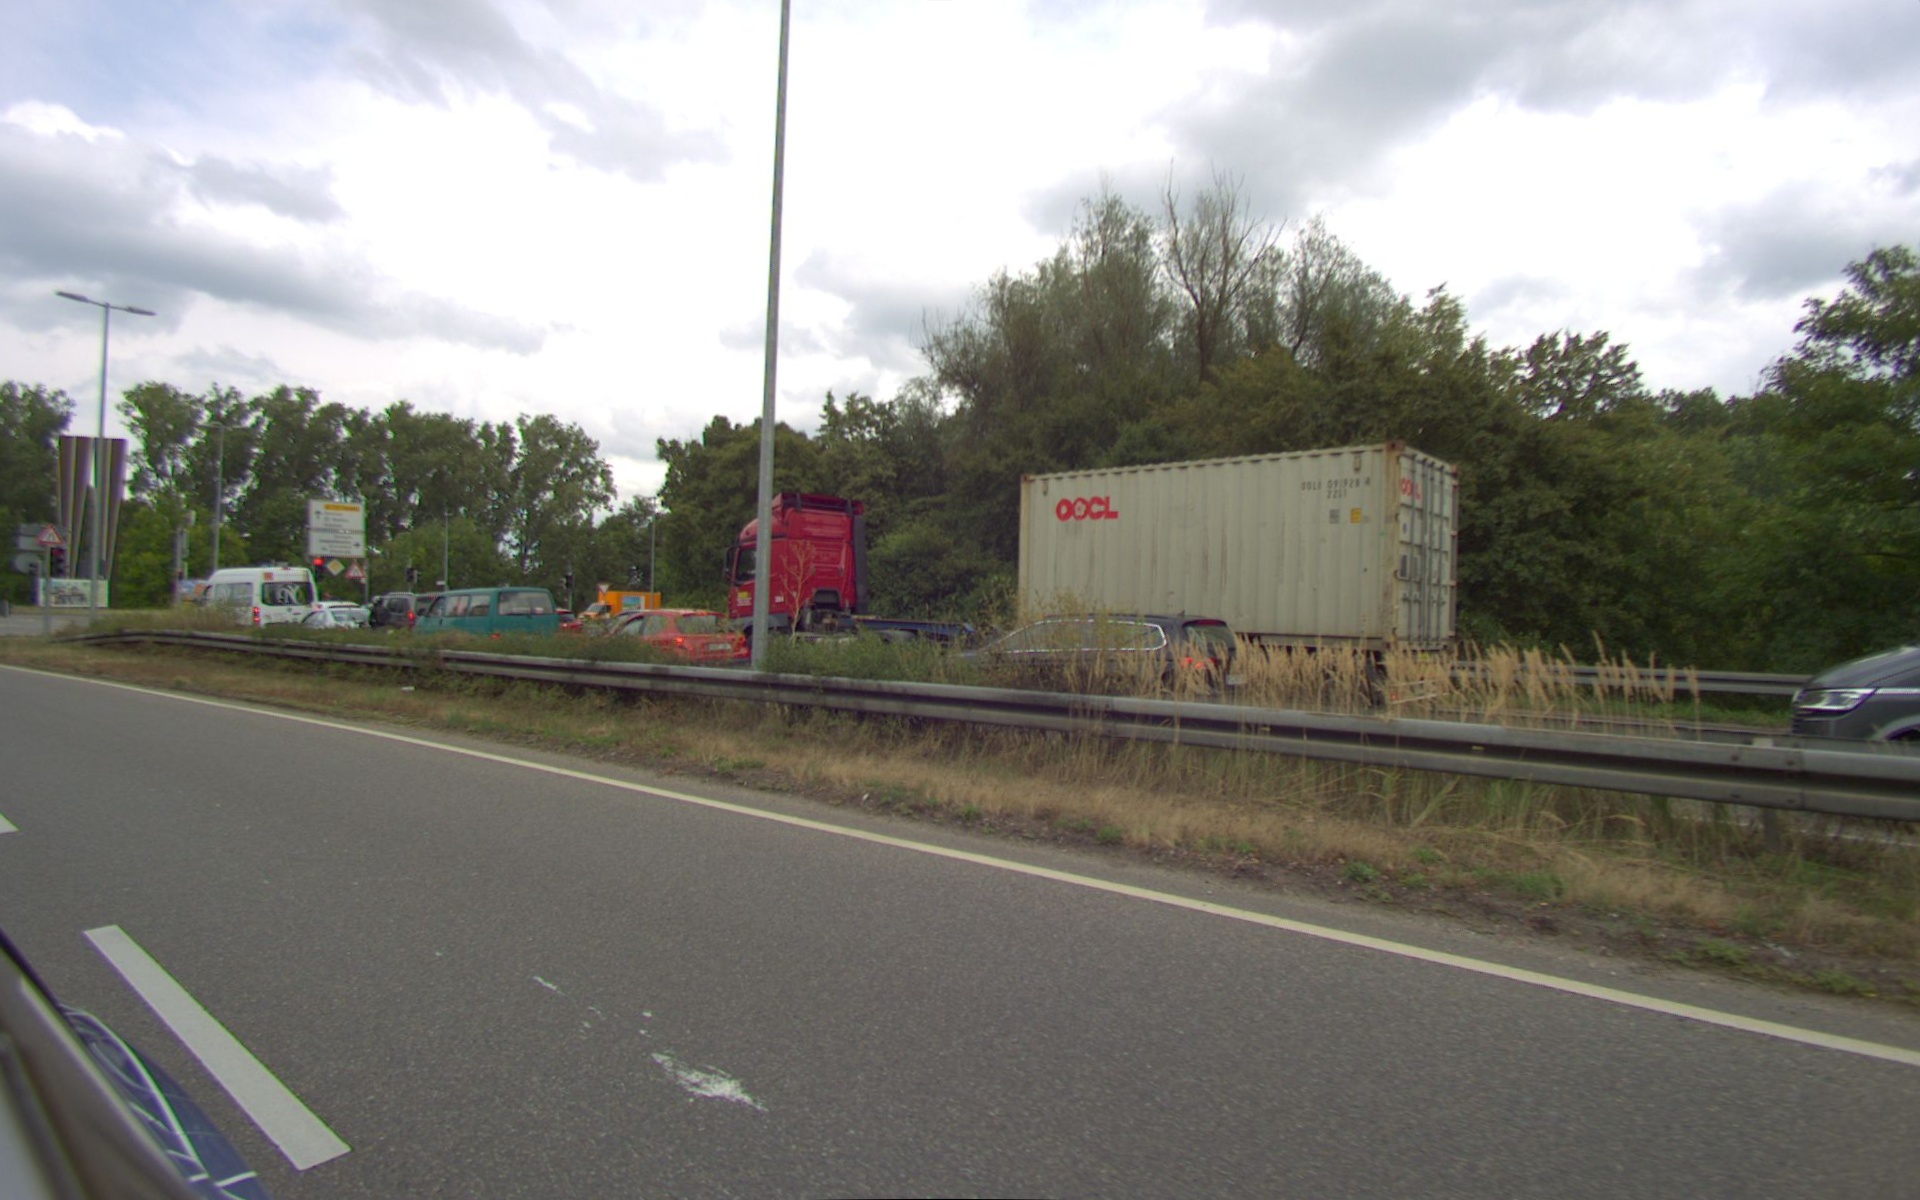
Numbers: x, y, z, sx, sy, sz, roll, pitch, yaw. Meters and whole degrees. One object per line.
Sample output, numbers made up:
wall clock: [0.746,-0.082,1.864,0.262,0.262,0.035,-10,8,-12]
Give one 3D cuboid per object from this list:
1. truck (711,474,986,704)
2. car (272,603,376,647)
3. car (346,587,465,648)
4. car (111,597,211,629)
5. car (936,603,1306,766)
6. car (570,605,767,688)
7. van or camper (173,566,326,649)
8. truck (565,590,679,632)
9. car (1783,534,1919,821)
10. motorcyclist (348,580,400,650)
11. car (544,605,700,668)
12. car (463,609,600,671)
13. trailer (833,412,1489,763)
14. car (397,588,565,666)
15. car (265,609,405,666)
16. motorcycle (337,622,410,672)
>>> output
truck: [-2.433,-0.206,20.955,5.621,4.114,2.541,1,0,42]
car: [-24.373,0.924,38.736,4.533,1.558,1.974,1,0,39]
car: [-18.663,0.537,34.007,4.160,1.916,1.975,1,0,37]
car: [-46.938,0.755,59.522,1.923,1.796,4.208,1,0,34]
car: [1.908,0.914,12.841,4.333,1.679,1.821,1,0,41]
car: [-5.843,0.851,20.077,4.123,1.443,1.786,1,0,40]
van or camper: [-24.310,0.216,34.532,6.480,2.608,2.142,1,0,35]
truck: [-27.319,0.901,82.327,2.960,3.159,9.181,1,0,30]
car: [8.394,0.536,6.086,5.277,1.877,1.988,1,0,42]
motorcyclist: [-15.660,0.384,27.044,0.923,1.837,0.858,1,-1,35]
car: [-8.924,0.903,26.570,4.271,1.477,1.787,1,0,37]
car: [-12.543,1.119,29.546,3.994,1.626,1.975,1,0,37]
trailer: [2.443,-0.174,16.592,10.768,4.178,2.508,1,0,42]
car: [-11.870,0.597,24.939,4.956,1.742,1.786,1,0,39]
car: [-18.414,1.054,29.778,4.391,1.510,1.976,1,0,36]
motorcycle: [-15.684,1.229,27.039,2.321,1.234,0.792,1,0,35]
